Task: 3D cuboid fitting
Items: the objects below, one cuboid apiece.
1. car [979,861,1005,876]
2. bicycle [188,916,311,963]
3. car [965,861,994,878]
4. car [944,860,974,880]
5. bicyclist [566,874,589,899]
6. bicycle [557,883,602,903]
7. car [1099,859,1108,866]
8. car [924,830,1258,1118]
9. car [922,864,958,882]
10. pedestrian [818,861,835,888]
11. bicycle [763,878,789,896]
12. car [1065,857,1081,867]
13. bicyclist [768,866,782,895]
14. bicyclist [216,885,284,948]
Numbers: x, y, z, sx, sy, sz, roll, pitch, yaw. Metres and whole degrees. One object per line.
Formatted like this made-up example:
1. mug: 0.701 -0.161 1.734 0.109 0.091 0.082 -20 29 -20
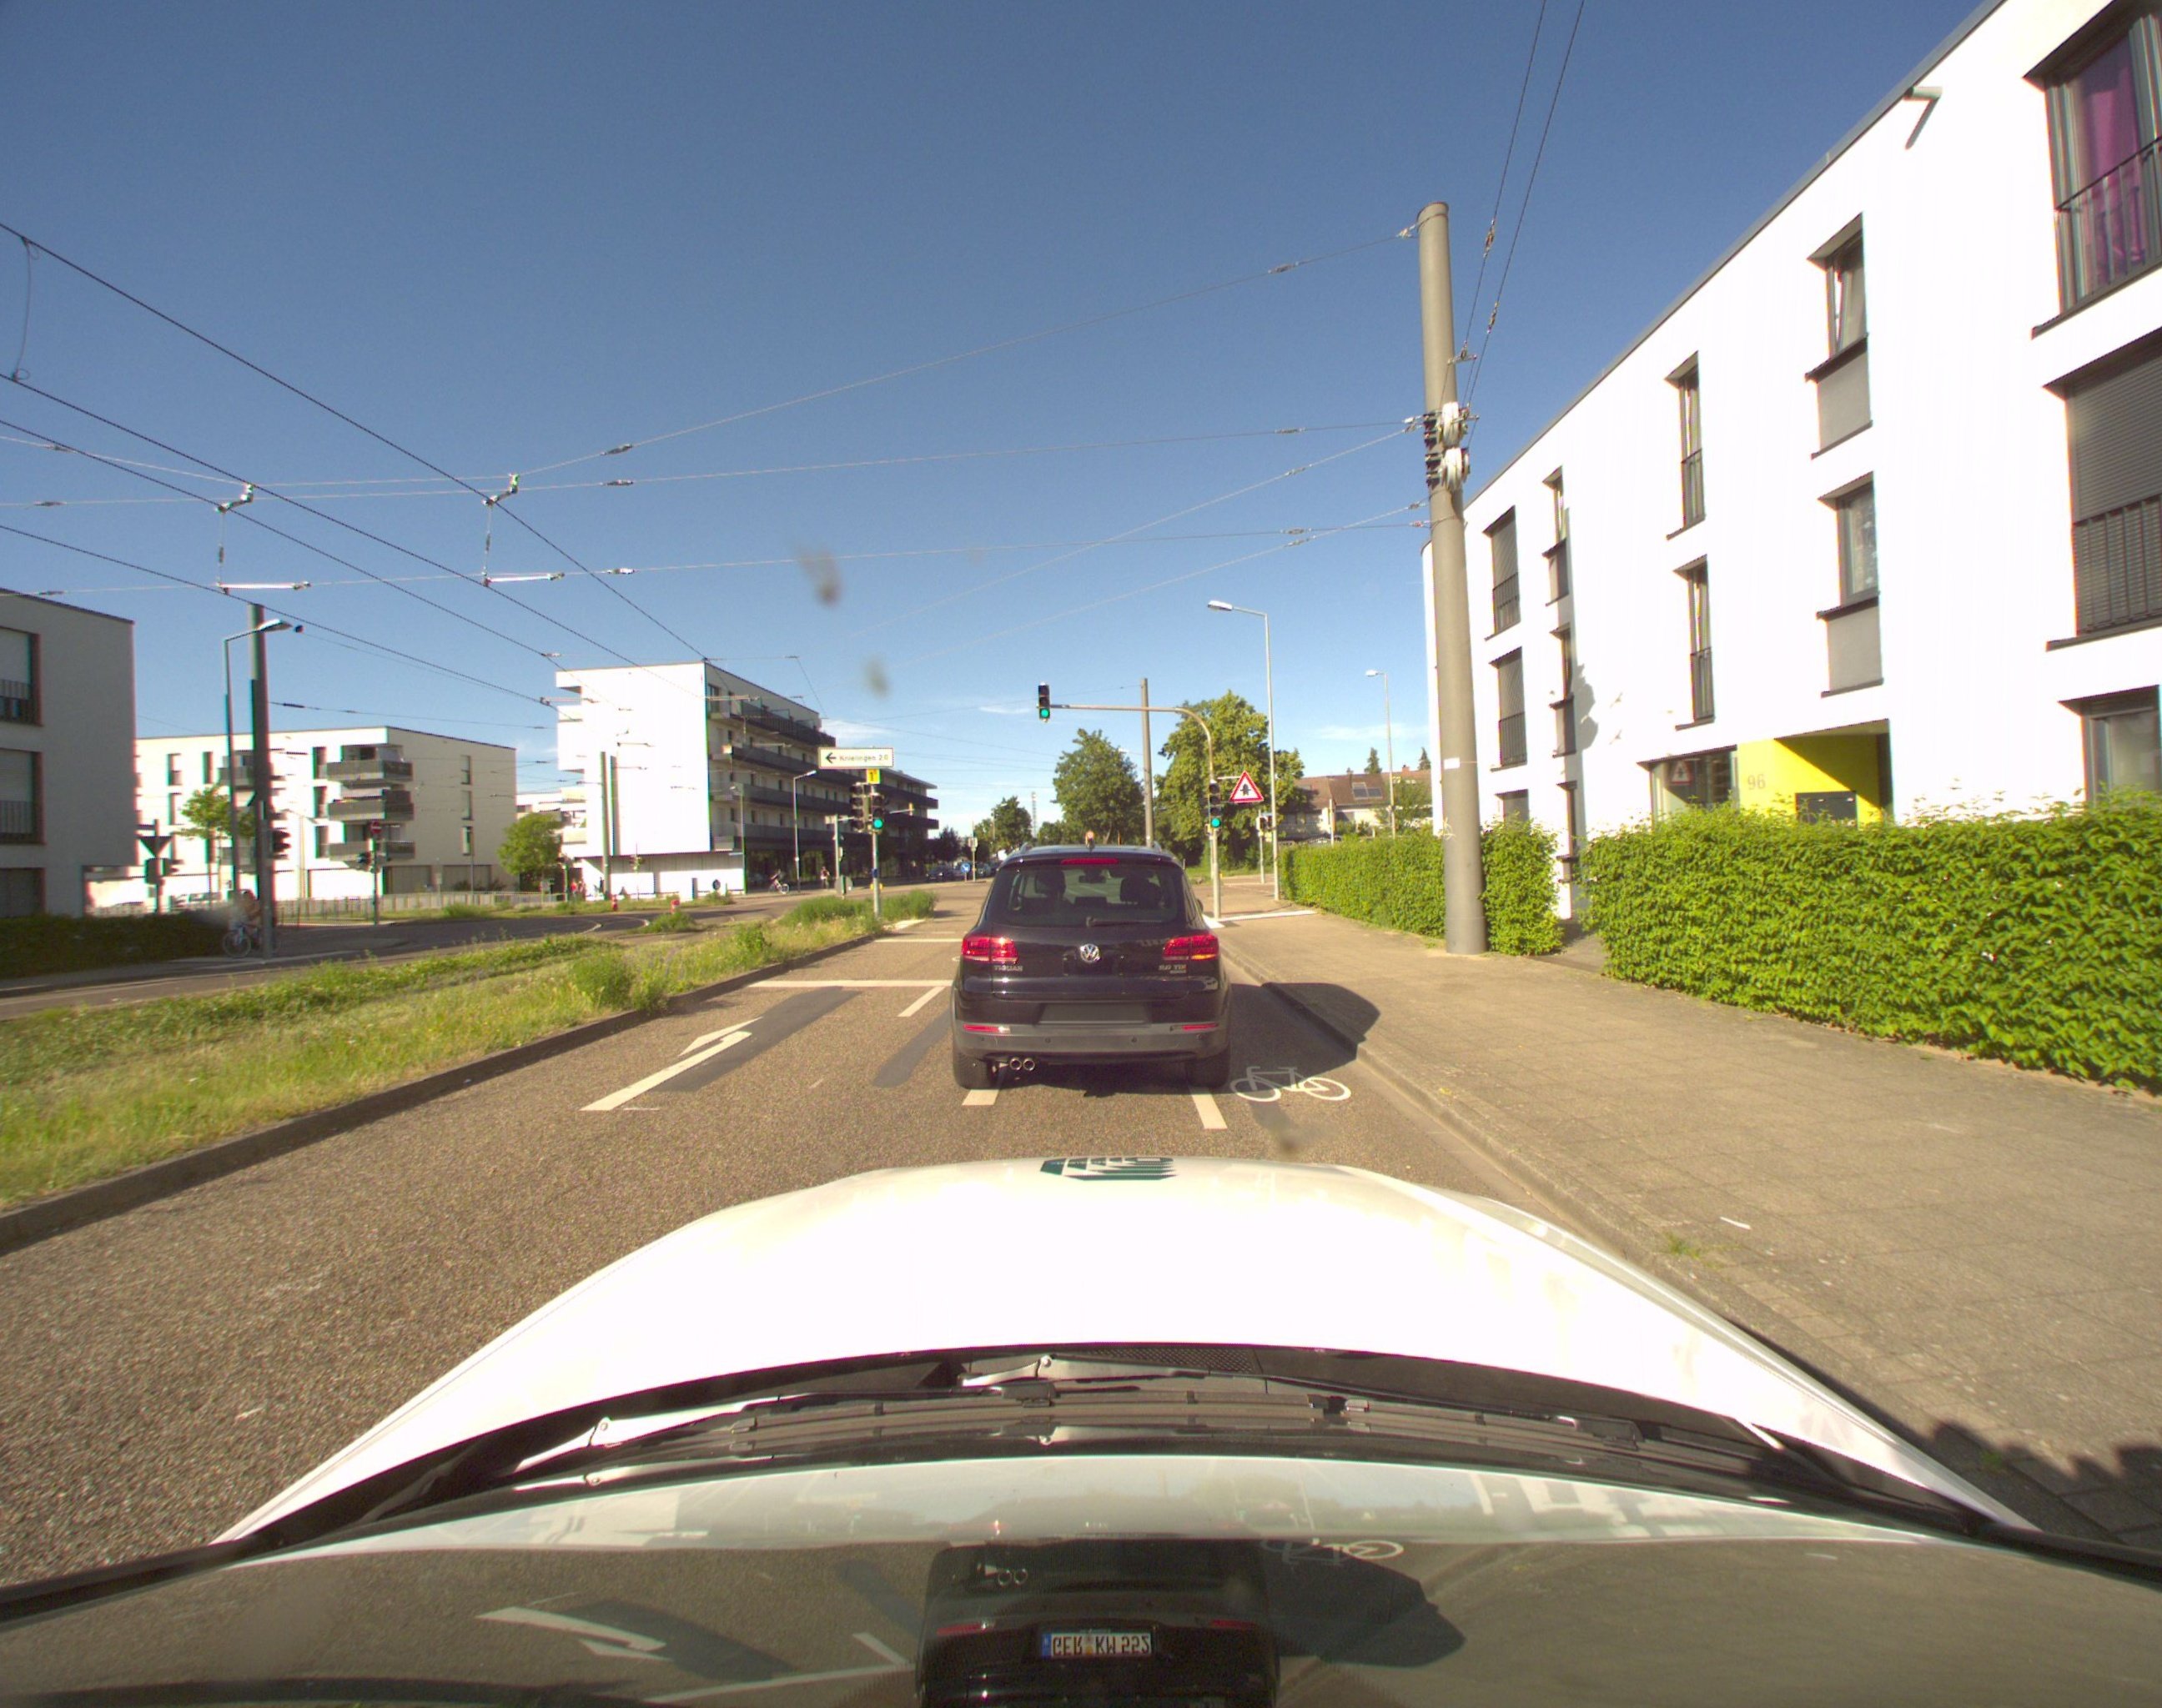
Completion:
1. car: -9.753 1.540 89.643 1.958 1.534 4.745 -3 0 4
2. bicycle: -20.834 2.114 20.502 0.900 0.892 2.474 -3 0 -11
3. car: -10.445 1.604 83.793 1.982 1.487 3.552 -5 0 8
4. car: -11.706 1.524 78.654 1.985 1.755 4.365 -2 0 3
5. bicyclist: -34.248 2.204 55.438 0.887 1.592 0.916 -3 -1 10
6. bicycle: -34.194 2.657 55.552 0.895 1.198 2.834 -3 0 11
7. car: 5.481 2.073 198.512 1.985 1.737 5.205 -3 0 4
8. car: 0.081 0.705 6.965 1.923 1.654 4.514 0 0 0
9. car: -12.343 1.660 71.679 1.685 1.456 4.465 -3 0 10
10. pedestrian: -19.328 1.560 61.821 0.974 2.013 0.760 -3 -1 -1
11. bicycle: -21.495 2.306 57.404 1.644 1.144 0.739 -3 -1 -23
12. car: -1.373 1.293 137.920 1.981 1.571 4.011 -3 0 10
13. bicyclist: -21.560 1.861 57.382 0.796 2.013 0.805 -2 -1 -22
14. bicyclist: -20.849 1.549 20.456 0.889 1.490 0.743 -2 -1 -11
